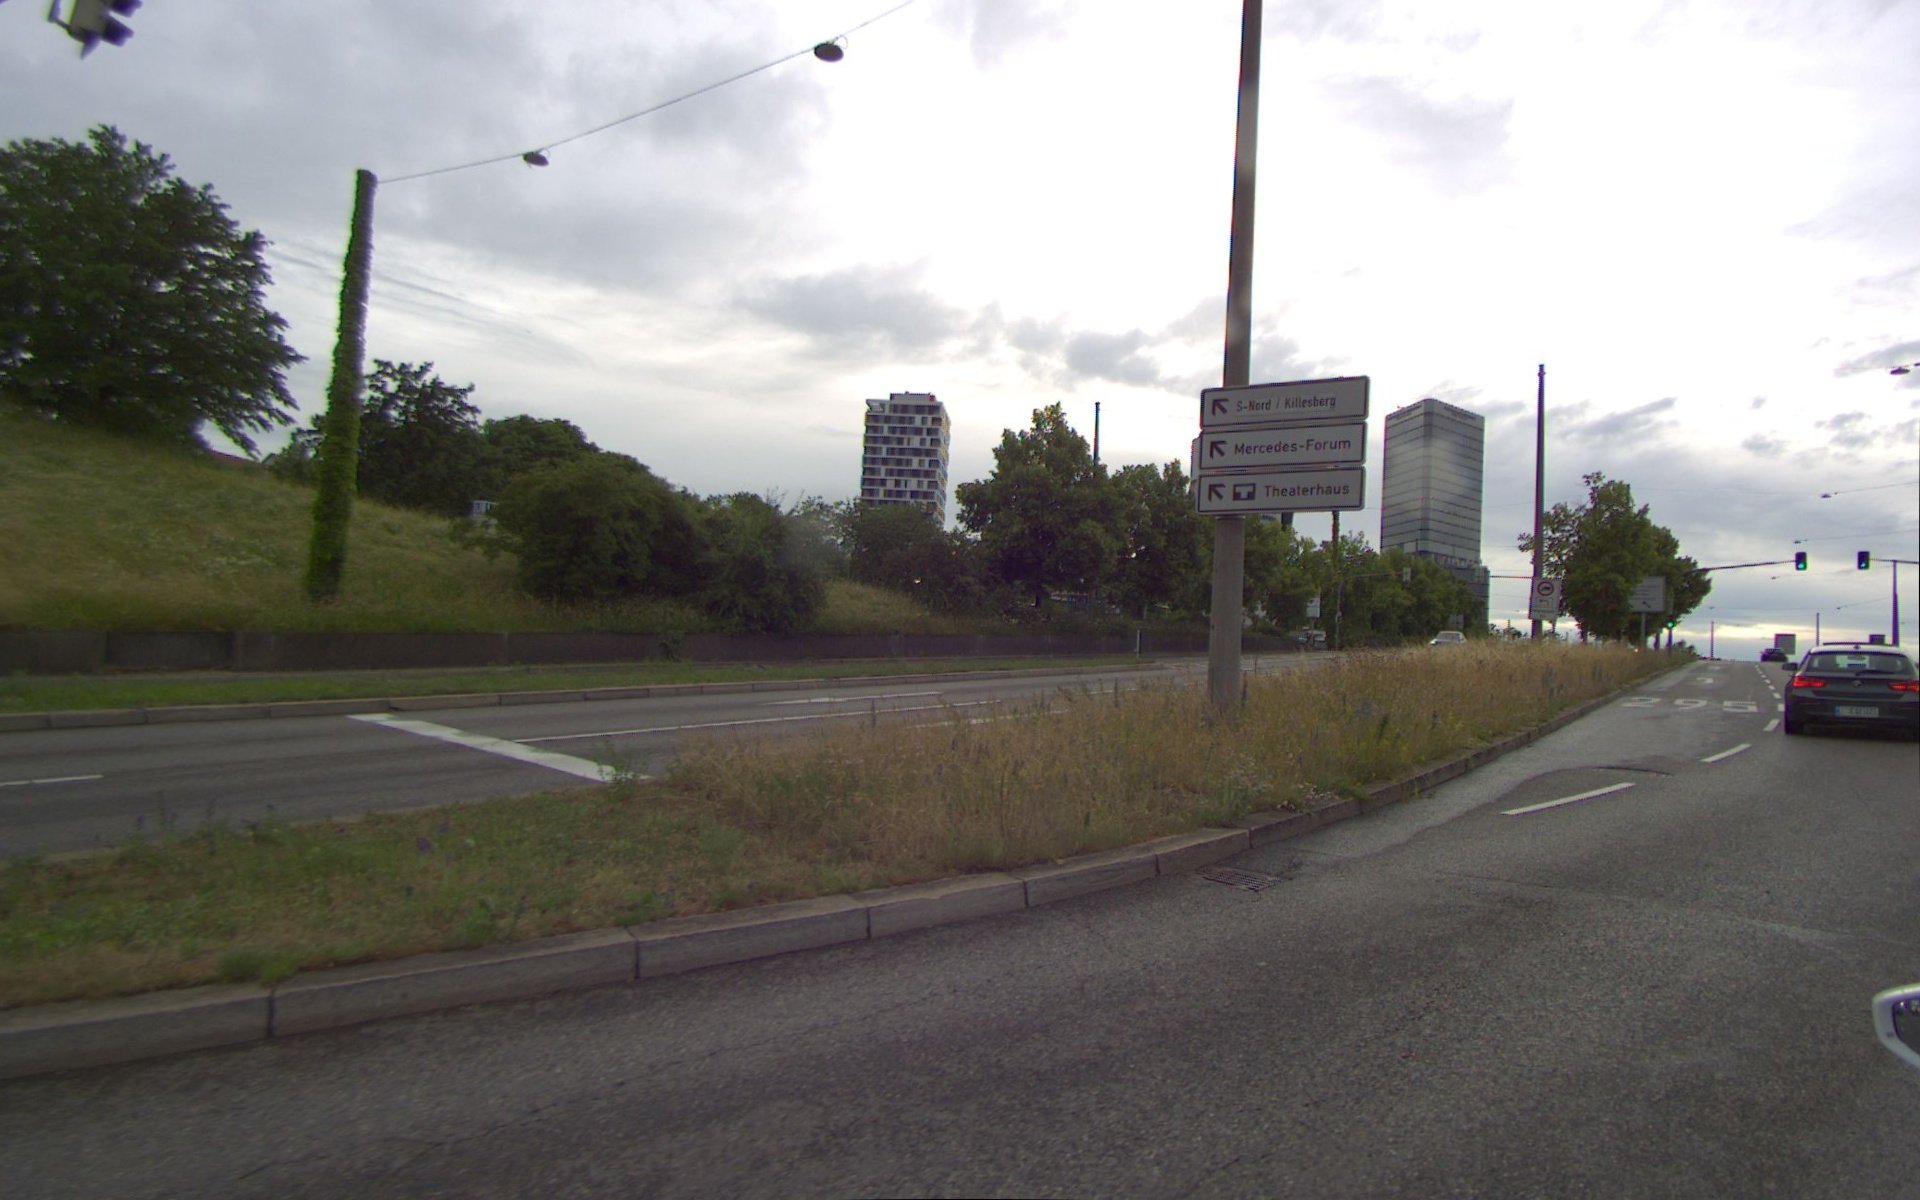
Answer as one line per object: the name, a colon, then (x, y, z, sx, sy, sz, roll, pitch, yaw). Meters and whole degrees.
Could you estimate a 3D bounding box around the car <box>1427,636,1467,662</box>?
car: (33.064, 3.317, 68.169, 1.836, 1.641, 3.988, 2, -1, 35)

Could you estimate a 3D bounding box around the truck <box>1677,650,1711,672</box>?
truck: (117.941, 9.872, 161.550, 2.623, 3.261, 6.551, 3, -3, 21)

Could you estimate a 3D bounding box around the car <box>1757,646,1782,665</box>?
car: (76.063, 5.210, 94.404, 1.701, 1.562, 3.687, 4, 0, 40)

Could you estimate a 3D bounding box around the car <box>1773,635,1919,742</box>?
car: (14.700, 1.376, 16.386, 1.850, 1.480, 3.951, 1, -2, 45)

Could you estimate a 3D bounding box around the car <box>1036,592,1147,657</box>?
car: (4.407, 0.854, 33.283, 1.968, 2.040, 3.986, -1, -3, 37)

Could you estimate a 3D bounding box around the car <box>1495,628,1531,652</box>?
car: (41.744, 2.990, 75.792, 1.967, 1.661, 4.007, 2, -1, 35)
